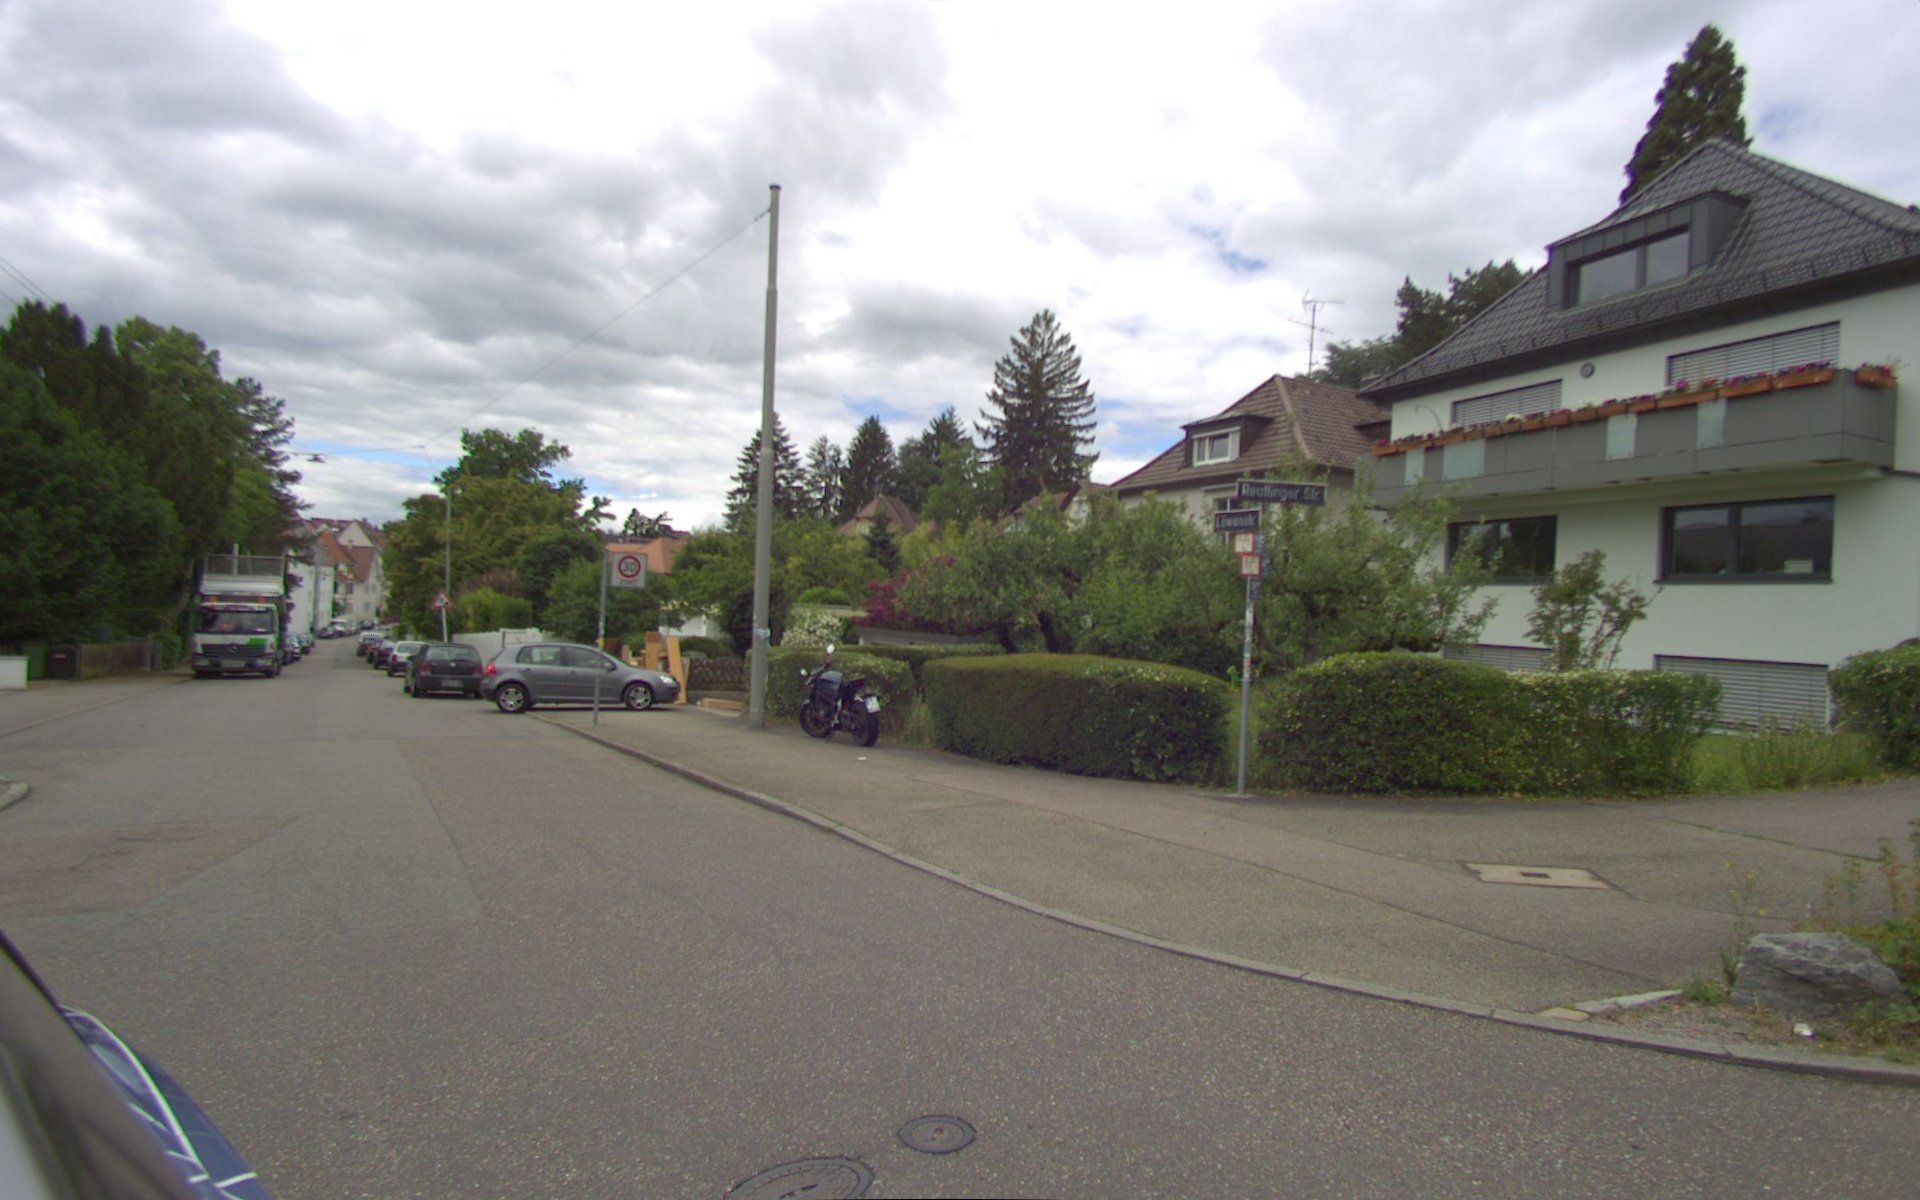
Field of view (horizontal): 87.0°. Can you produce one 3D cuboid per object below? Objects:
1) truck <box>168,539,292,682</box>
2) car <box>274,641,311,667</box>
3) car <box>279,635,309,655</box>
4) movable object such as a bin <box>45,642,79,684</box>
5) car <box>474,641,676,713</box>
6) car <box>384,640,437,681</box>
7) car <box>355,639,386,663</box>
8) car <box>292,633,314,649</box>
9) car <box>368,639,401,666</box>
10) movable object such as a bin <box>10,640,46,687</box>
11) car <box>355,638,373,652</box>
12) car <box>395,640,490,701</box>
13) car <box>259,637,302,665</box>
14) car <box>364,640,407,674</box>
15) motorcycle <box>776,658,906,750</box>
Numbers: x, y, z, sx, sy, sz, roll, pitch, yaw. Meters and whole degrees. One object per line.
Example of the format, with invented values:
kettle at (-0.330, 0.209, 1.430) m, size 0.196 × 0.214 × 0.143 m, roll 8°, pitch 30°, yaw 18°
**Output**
truck at (-26.276, 0.501, 36.730) m, size 3.102 × 4.586 × 7.973 m, roll 3°, pitch -4°, yaw -34°
car at (-43.907, 3.542, 66.619) m, size 1.845 × 1.564 × 3.835 m, roll 2°, pitch -3°, yaw -32°
car at (-53.951, 3.626, 82.047) m, size 1.845 × 1.564 × 3.835 m, roll 2°, pitch -3°, yaw -32°
movable object such as a bin at (-24.611, 1.734, 27.747) m, size 0.590 × 1.113 × 0.954 m, roll 0°, pitch -4°, yaw -35°
car at (-8.293, 1.645, 22.141) m, size 3.933 × 1.473 × 1.742 m, roll 1°, pitch -3°, yaw -14°
car at (-22.151, 2.415, 40.761) m, size 1.594 × 1.480 × 3.322 m, roll 6°, pitch -4°, yaw -31°
car at (-46.797, 4.043, 80.305) m, size 1.857 × 1.770 × 3.712 m, roll 2°, pitch -3°, yaw -34°
car at (-70.940, 4.417, 109.279) m, size 1.845 × 1.564 × 3.835 m, roll 2°, pitch -3°, yaw -32°
car at (-34.954, 3.194, 61.389) m, size 1.513 × 1.480 × 3.322 m, roll 6°, pitch -6°, yaw -31°
movable object such as a bin at (-25.206, 1.727, 27.380) m, size 0.590 × 1.217 × 0.954 m, roll 0°, pitch -4°, yaw -35°
car at (-60.546, 4.559, 102.785) m, size 1.401 × 1.294 × 3.322 m, roll 6°, pitch -4°, yaw -31°
car at (-13.824, 1.842, 26.934) m, size 1.730 × 1.455 × 3.812 m, roll 5°, pitch -5°, yaw -33°
car at (-39.510, 2.948, 58.910) m, size 1.845 × 1.564 × 3.835 m, roll 2°, pitch -3°, yaw -32°
car at (-28.044, 2.741, 49.327) m, size 1.594 × 1.480 × 3.322 m, roll 6°, pitch -4°, yaw -31°
motorcycle at (-1.702, 1.401, 14.134) m, size 0.763 × 1.148 × 2.150 m, roll 4°, pitch -4°, yaw -39°
